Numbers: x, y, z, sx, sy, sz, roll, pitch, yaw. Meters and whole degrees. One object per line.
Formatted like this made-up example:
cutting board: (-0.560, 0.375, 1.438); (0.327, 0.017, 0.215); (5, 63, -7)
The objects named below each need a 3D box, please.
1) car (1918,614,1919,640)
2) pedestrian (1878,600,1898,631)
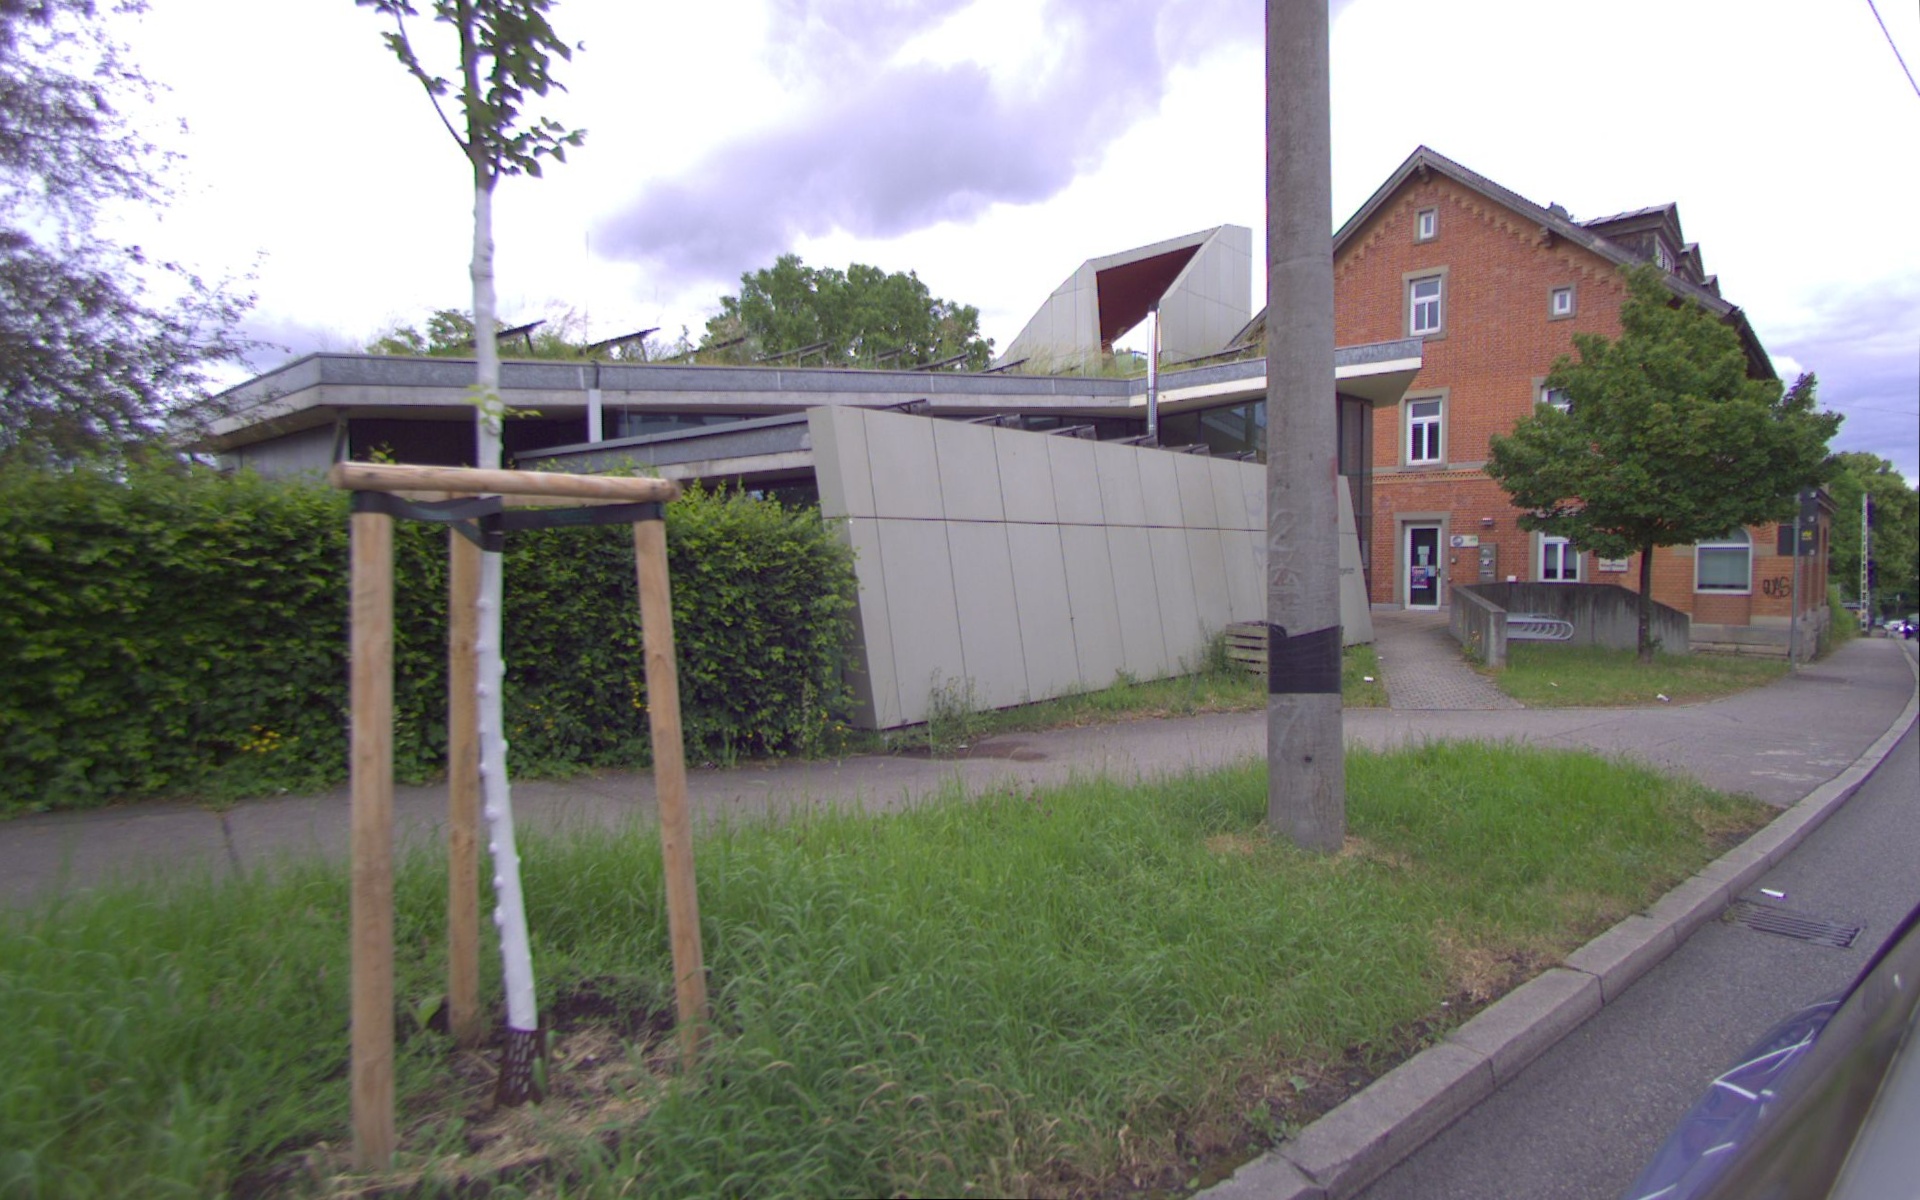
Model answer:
car: (69.152, 1.958, 71.709); (1.707, 1.710, 3.736); (1, 2, 42)
pedestrian: (57.931, 0.952, 63.180); (0.932, 1.908, 0.813); (2, 0, -42)
